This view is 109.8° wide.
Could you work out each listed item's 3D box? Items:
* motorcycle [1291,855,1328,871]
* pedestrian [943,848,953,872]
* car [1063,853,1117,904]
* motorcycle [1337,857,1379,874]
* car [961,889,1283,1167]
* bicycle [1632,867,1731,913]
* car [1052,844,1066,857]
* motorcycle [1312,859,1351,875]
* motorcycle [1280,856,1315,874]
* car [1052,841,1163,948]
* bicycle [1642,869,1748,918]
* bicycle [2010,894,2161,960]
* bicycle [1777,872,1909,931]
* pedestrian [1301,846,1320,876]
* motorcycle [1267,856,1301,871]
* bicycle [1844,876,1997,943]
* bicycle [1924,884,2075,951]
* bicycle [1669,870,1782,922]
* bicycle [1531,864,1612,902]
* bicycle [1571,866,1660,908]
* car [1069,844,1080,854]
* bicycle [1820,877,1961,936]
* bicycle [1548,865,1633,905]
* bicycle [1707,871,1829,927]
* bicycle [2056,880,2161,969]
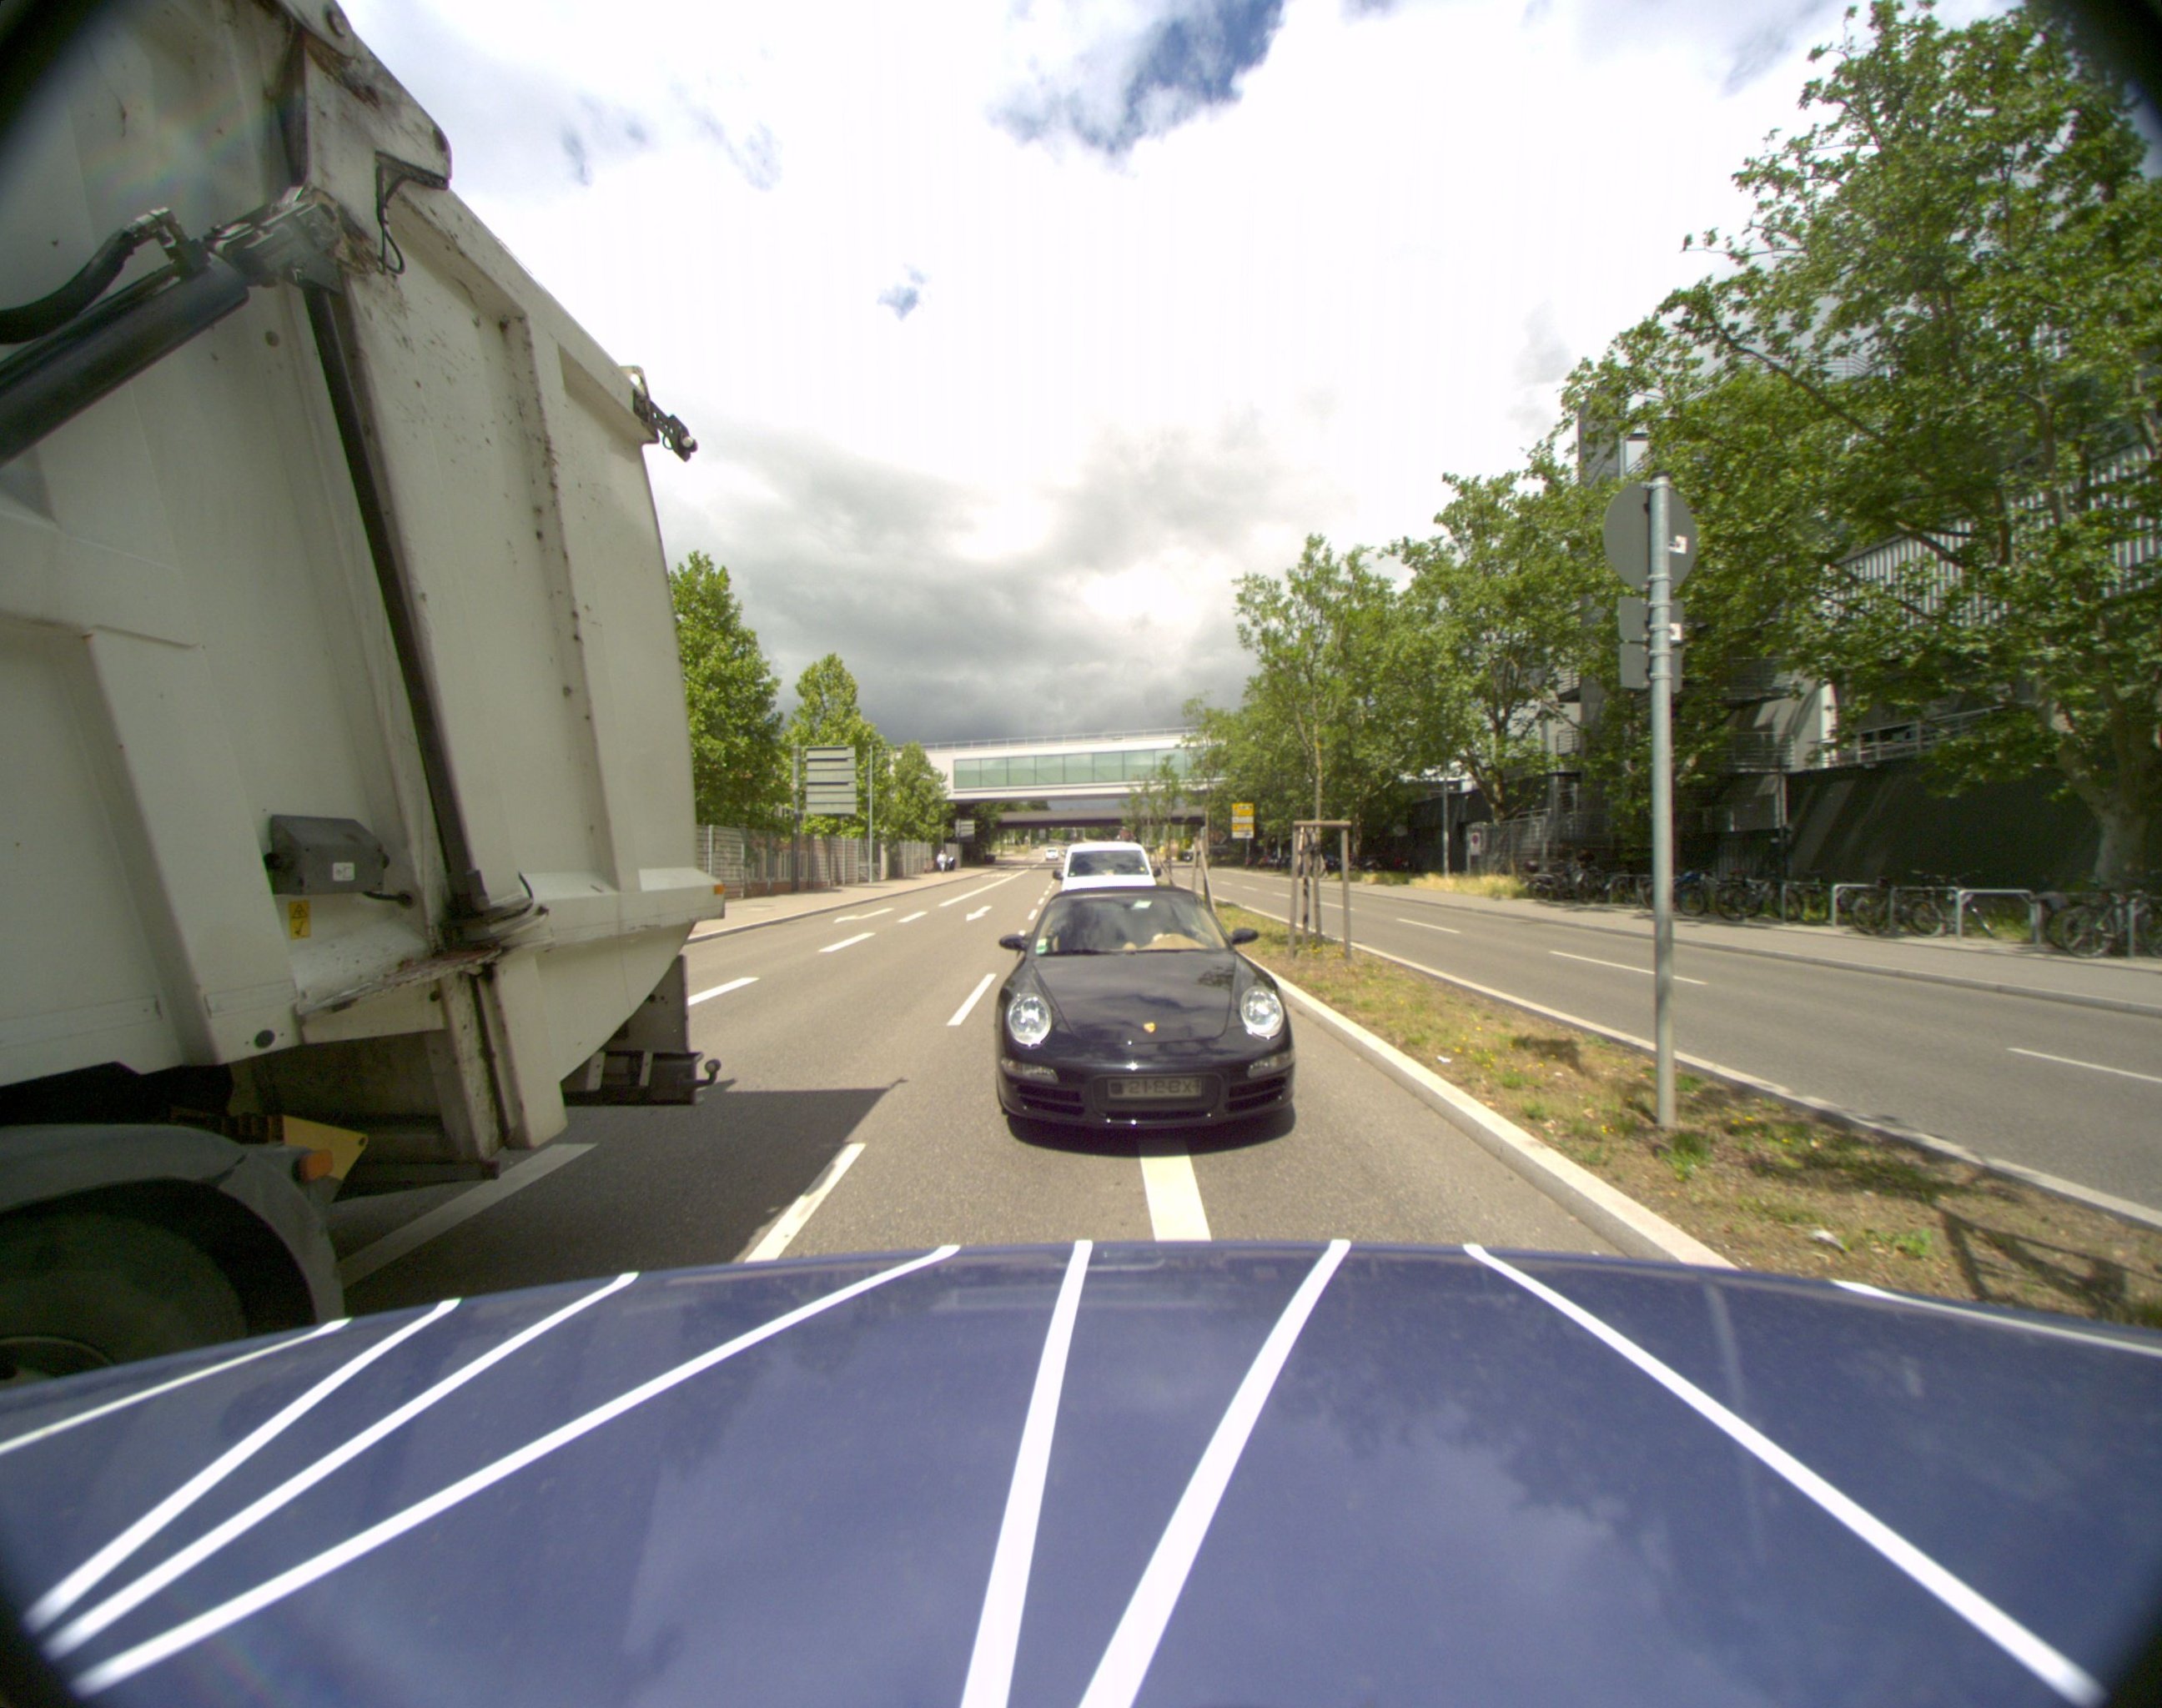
[{"bbox_3d":[14.354,0.564,47.782,2.133,0.963,0.534,-1,0,1],"label":"motorcycle"},{"bbox_3d":[-10.901,0.492,62.258,0.739,1.901,0.658,-2,1,-5],"label":"pedestrian"},{"bbox_3d":[0.296,0.793,26.847,1.747,1.647,3.545,-1,0,0],"label":"car"},{"bbox_3d":[15.423,0.664,42.395,2.133,0.893,0.534,-1,0,1],"label":"motorcycle"},{"bbox_3d":[0.246,1.029,6.002,1.710,1.280,3.806,-1,0,1],"label":"car"},{"bbox_3d":[15.058,0.896,19.075,2.129,1.104,0.382,-1,1,3],"label":"bicycle"},{"bbox_3d":[-3.567,-0.543,122.746,1.925,2.082,4.657,-1,0,2],"label":"car"},{"bbox_3d":[14.709,0.746,44.643,2.133,0.880,0.534,-1,0,1],"label":"motorcycle"},{"bbox_3d":[13.989,0.702,49.146,2.133,1.131,0.534,-1,0,1],"label":"motorcycle"},{"bbox_3d":[0.486,0.700,15.527,1.862,1.800,4.906,-1,0,1],"label":"car"},{"bbox_3d":[14.498,0.925,17.960,2.129,1.104,0.382,-1,1,3],"label":"bicycle"},{"bbox_3d":[14.949,1.072,11.230,1.993,0.885,0.382,-1,1,-1],"label":"bicycle"},{"bbox_3d":[15.034,0.927,15.010,2.129,1.104,0.382,-1,1,3],"label":"bicycle"},{"bbox_3d":[13.228,0.381,43.755,0.900,1.710,0.673,-1,1,1],"label":"pedestrian"},{"bbox_3d":[13.809,0.654,51.758,2.133,0.963,0.534,-1,0,1],"label":"motorcycle"},{"bbox_3d":[14.571,0.957,13.210,2.129,1.089,0.382,-1,1,3],"label":"bicycle"},{"bbox_3d":[14.746,1.014,12.209,1.993,0.992,0.382,-1,1,-1],"label":"bicycle"},{"bbox_3d":[14.472,0.933,17.073,2.129,1.104,0.382,-1,1,3],"label":"bicycle"},{"bbox_3d":[14.742,0.867,22.852,2.129,1.104,0.382,-1,1,3],"label":"bicycle"},{"bbox_3d":[14.815,0.916,21.087,2.129,1.104,0.382,-1,1,3],"label":"bicycle"},{"bbox_3d":[-1.119,-0.898,136.512,1.862,1.800,4.357,-3,0,1],"label":"car"},{"bbox_3d":[15.004,0.970,14.104,2.129,1.025,0.382,-1,1,3],"label":"bicycle"},{"bbox_3d":[14.746,0.903,22.010,2.129,1.104,0.382,-1,1,3],"label":"bicycle"},{"bbox_3d":[14.494,0.944,16.049,2.129,1.104,0.382,-1,1,3],"label":"bicycle"},{"bbox_3d":[14.347,0.928,10.227,1.993,1.121,0.382,-1,1,-1],"label":"bicycle"}]
